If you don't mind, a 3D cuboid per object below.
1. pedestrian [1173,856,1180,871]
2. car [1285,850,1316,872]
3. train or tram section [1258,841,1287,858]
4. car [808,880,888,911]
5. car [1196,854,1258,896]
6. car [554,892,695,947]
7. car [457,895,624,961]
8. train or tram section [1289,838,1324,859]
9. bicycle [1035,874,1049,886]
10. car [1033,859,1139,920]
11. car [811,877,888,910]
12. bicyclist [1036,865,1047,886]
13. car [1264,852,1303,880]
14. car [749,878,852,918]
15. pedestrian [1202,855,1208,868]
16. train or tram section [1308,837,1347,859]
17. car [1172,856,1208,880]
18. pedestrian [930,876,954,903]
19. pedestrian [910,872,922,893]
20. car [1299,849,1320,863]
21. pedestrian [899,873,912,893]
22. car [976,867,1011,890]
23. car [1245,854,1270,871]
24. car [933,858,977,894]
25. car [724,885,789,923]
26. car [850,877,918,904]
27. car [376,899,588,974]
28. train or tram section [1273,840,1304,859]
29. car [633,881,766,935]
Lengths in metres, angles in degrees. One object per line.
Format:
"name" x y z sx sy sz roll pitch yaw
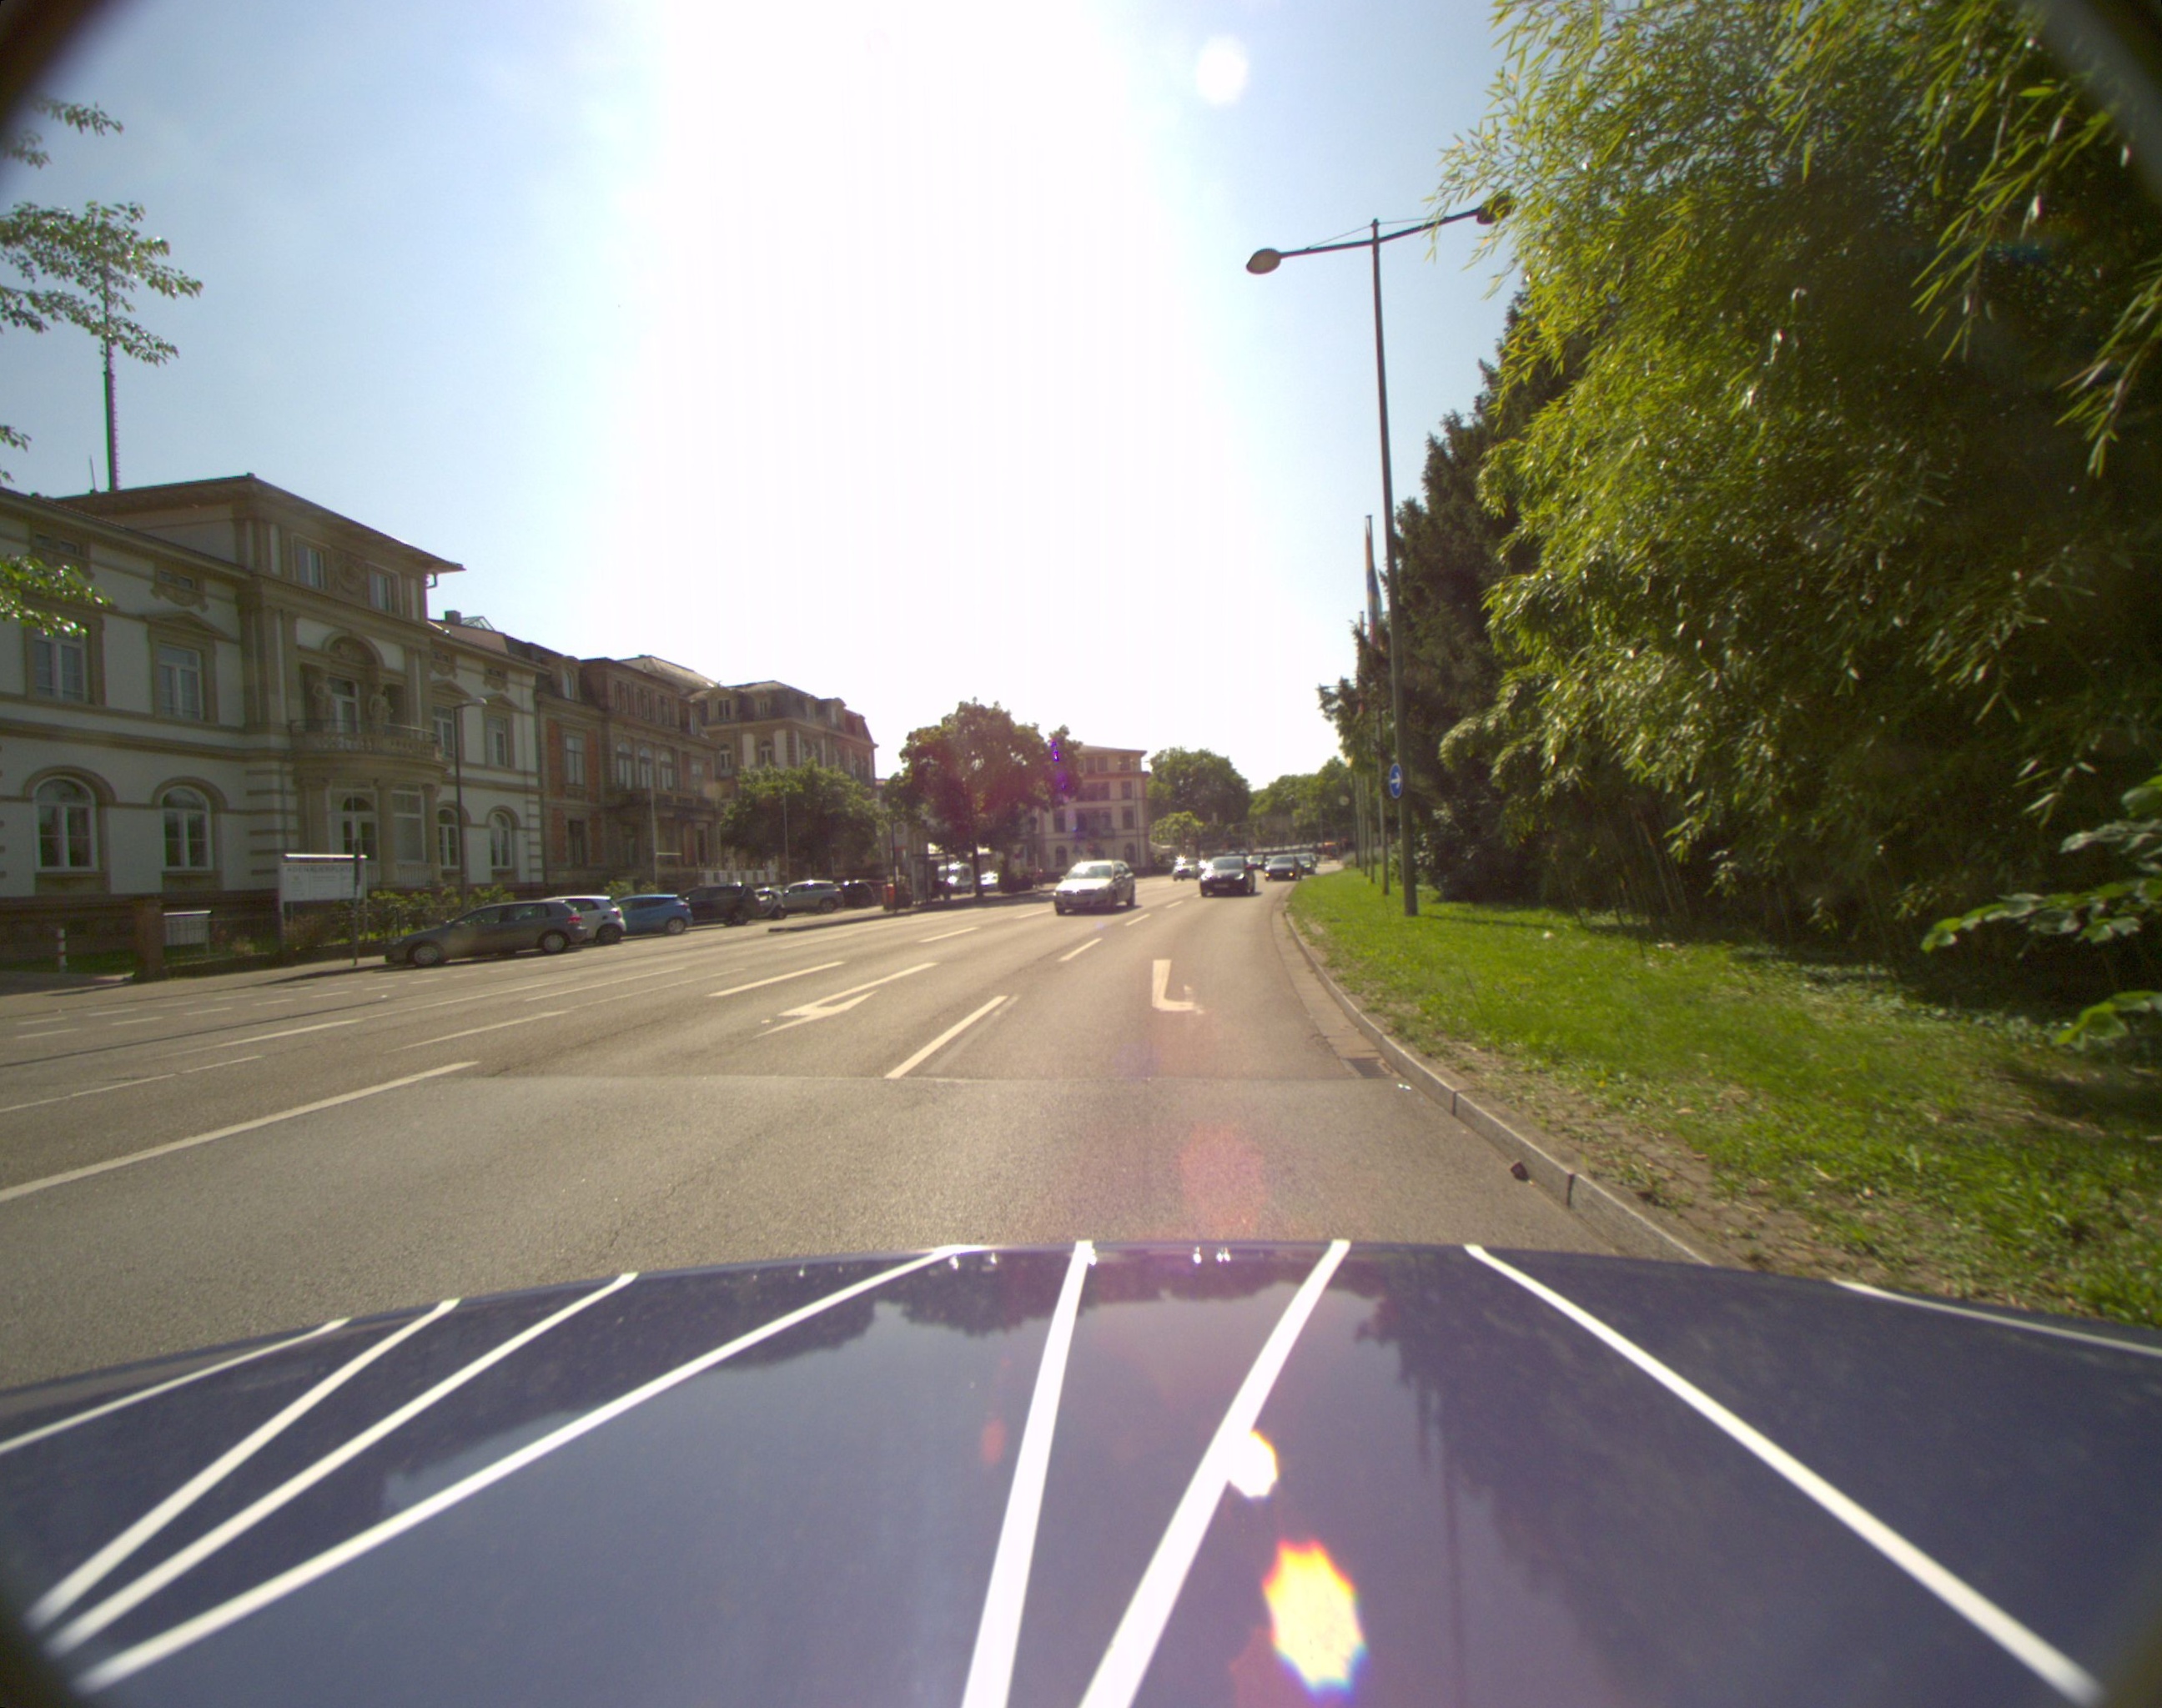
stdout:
"pedestrian" 11.522 1.142 91.596 0.725 1.794 0.653 -3 0 1
"car" 15.611 0.494 53.932 1.788 1.461 4.094 -2 0 21
"train or tram section" 38.733 -0.860 153.837 2.734 3.248 8.734 -4 -1 -6
"car" -12.630 2.227 41.226 3.826 1.408 1.602 -3 -1 -32
"car" 5.764 0.766 29.654 1.788 1.443 4.286 -2 0 18
"car" -15.334 2.157 25.595 3.818 1.433 1.709 -3 -1 -39
"car" -15.800 2.106 22.386 3.818 1.502 1.710 -3 -1 -36
"train or tram section" 40.427 -0.934 136.433 2.734 3.248 8.734 -4 -1 -6
"bicycle" -3.065 2.035 59.492 0.592 0.849 1.746 -3 -1 12
"car" 0.279 0.941 21.732 1.717 1.491 4.496 -2 -1 18
"car" -13.499 2.275 44.307 3.883 1.565 1.746 -3 -1 -32
"bicyclist" -3.104 1.676 59.391 0.592 1.597 0.685 -3 0 12
"car" 11.901 0.671 44.521 1.788 1.484 4.094 -2 0 21
"car" -13.662 2.112 37.112 4.323 1.620 1.710 -3 -1 -36
"pedestrian" 16.017 0.938 98.193 0.535 1.639 0.674 -3 0 -2
"train or tram section" 41.293 -0.972 127.772 2.734 3.248 8.734 -4 -1 -6
"car" 7.678 0.963 53.349 1.788 1.503 4.286 -2 0 18
"pedestrian" -6.624 1.688 36.209 1.021 1.190 0.791 -3 0 -6
"pedestrian" -14.212 2.447 65.367 0.701 1.741 0.722 -3 0 4
"car" 24.363 0.187 80.915 1.788 1.451 4.094 -2 0 21
"pedestrian" -15.120 2.487 65.401 0.820 1.730 0.751 -3 0 4
"car" -7.067 1.976 61.954 1.820 1.616 4.882 -4 -1 4
"car" 16.754 0.772 72.025 1.788 1.451 4.094 -2 0 20
"car" -9.859 1.689 60.067 1.998 2.588 5.321 -4 -1 5
"car" -14.235 2.196 33.406 2.293 1.474 1.198 -3 -1 -42
"car" -12.366 2.287 47.657 3.706 1.410 1.745 -3 -1 -32
"car" -15.448 2.080 19.923 4.113 1.452 1.824 -3 -1 -32
"train or tram section" 39.567 -0.896 145.134 2.734 3.248 8.734 -4 -1 -6
"car" -14.766 2.052 29.540 4.282 1.686 1.709 -3 -1 -39
